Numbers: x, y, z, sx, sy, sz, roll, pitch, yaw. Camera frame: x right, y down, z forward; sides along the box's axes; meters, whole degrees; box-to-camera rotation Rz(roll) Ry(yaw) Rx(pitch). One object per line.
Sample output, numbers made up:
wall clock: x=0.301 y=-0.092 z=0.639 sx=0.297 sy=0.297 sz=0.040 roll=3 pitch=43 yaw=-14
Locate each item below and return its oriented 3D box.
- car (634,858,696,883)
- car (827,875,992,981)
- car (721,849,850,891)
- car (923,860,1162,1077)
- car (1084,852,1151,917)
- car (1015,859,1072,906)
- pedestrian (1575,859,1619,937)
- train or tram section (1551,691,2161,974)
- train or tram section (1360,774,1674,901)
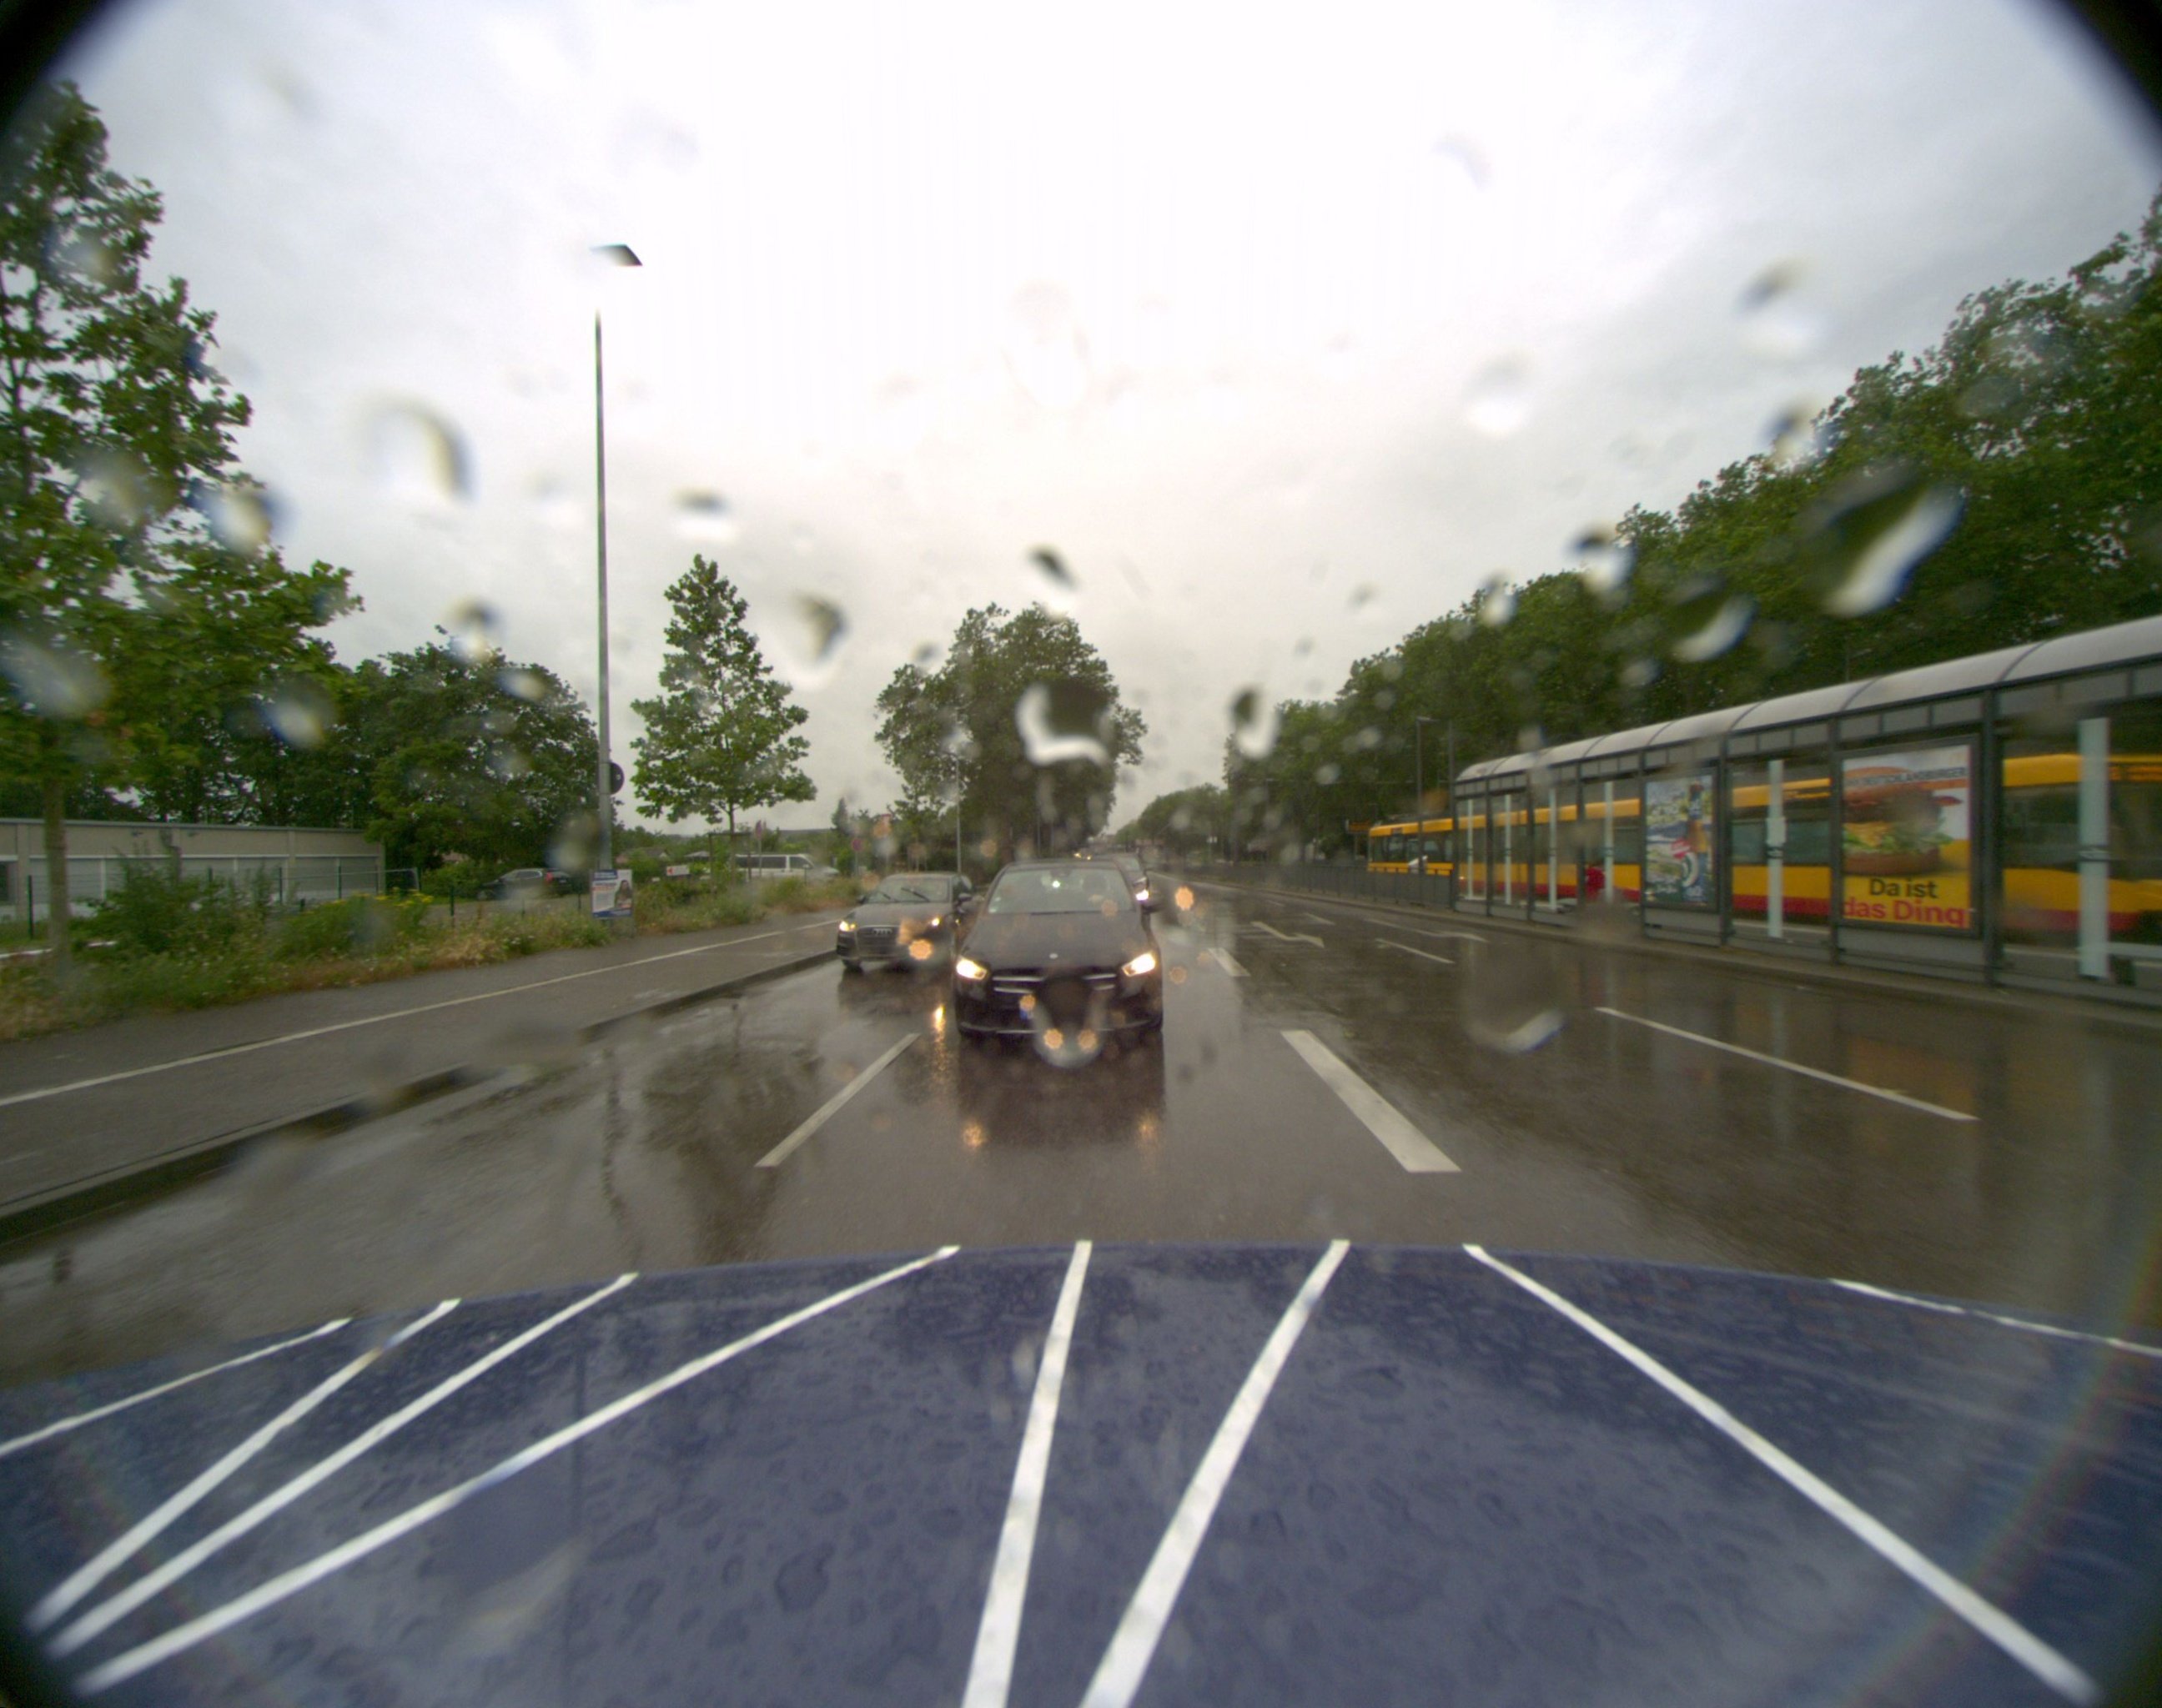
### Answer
car: x=-28.754 y=1.139 z=52.593 sx=3.552 sy=1.575 sz=1.345 roll=-2 pitch=1 yaw=5
car: x=-2.611 y=1.074 z=12.409 sx=1.601 sy=1.358 sz=3.632 roll=0 pitch=0 yaw=5
car: x=-13.779 y=0.723 z=35.680 sx=5.175 sy=1.715 sz=2.006 roll=-2 pitch=1 yaw=-1
car: x=-0.078 y=0.893 z=7.771 sx=1.758 sy=1.572 sz=4.171 roll=-2 pitch=0 yaw=6
car: x=0.964 y=0.763 z=21.090 sx=1.689 sy=1.611 sz=4.000 roll=0 pitch=0 yaw=1
car: x=-1.343 y=0.996 z=28.447 sx=1.706 sy=1.499 sz=3.879 roll=-2 pitch=1 yaw=3
pedestrian: x=8.426 y=0.709 z=12.421 sx=0.458 sy=1.229 sz=0.467 roll=-1 pitch=2 yaw=14
train or tram section: x=16.369 y=-0.429 z=16.671 sx=3.751 sy=3.817 sz=13.252 roll=-2 pitch=1 yaw=0
train or tram section: x=16.287 y=-0.591 z=31.162 sx=3.751 sy=3.777 sz=15.568 roll=-2 pitch=1 yaw=0
